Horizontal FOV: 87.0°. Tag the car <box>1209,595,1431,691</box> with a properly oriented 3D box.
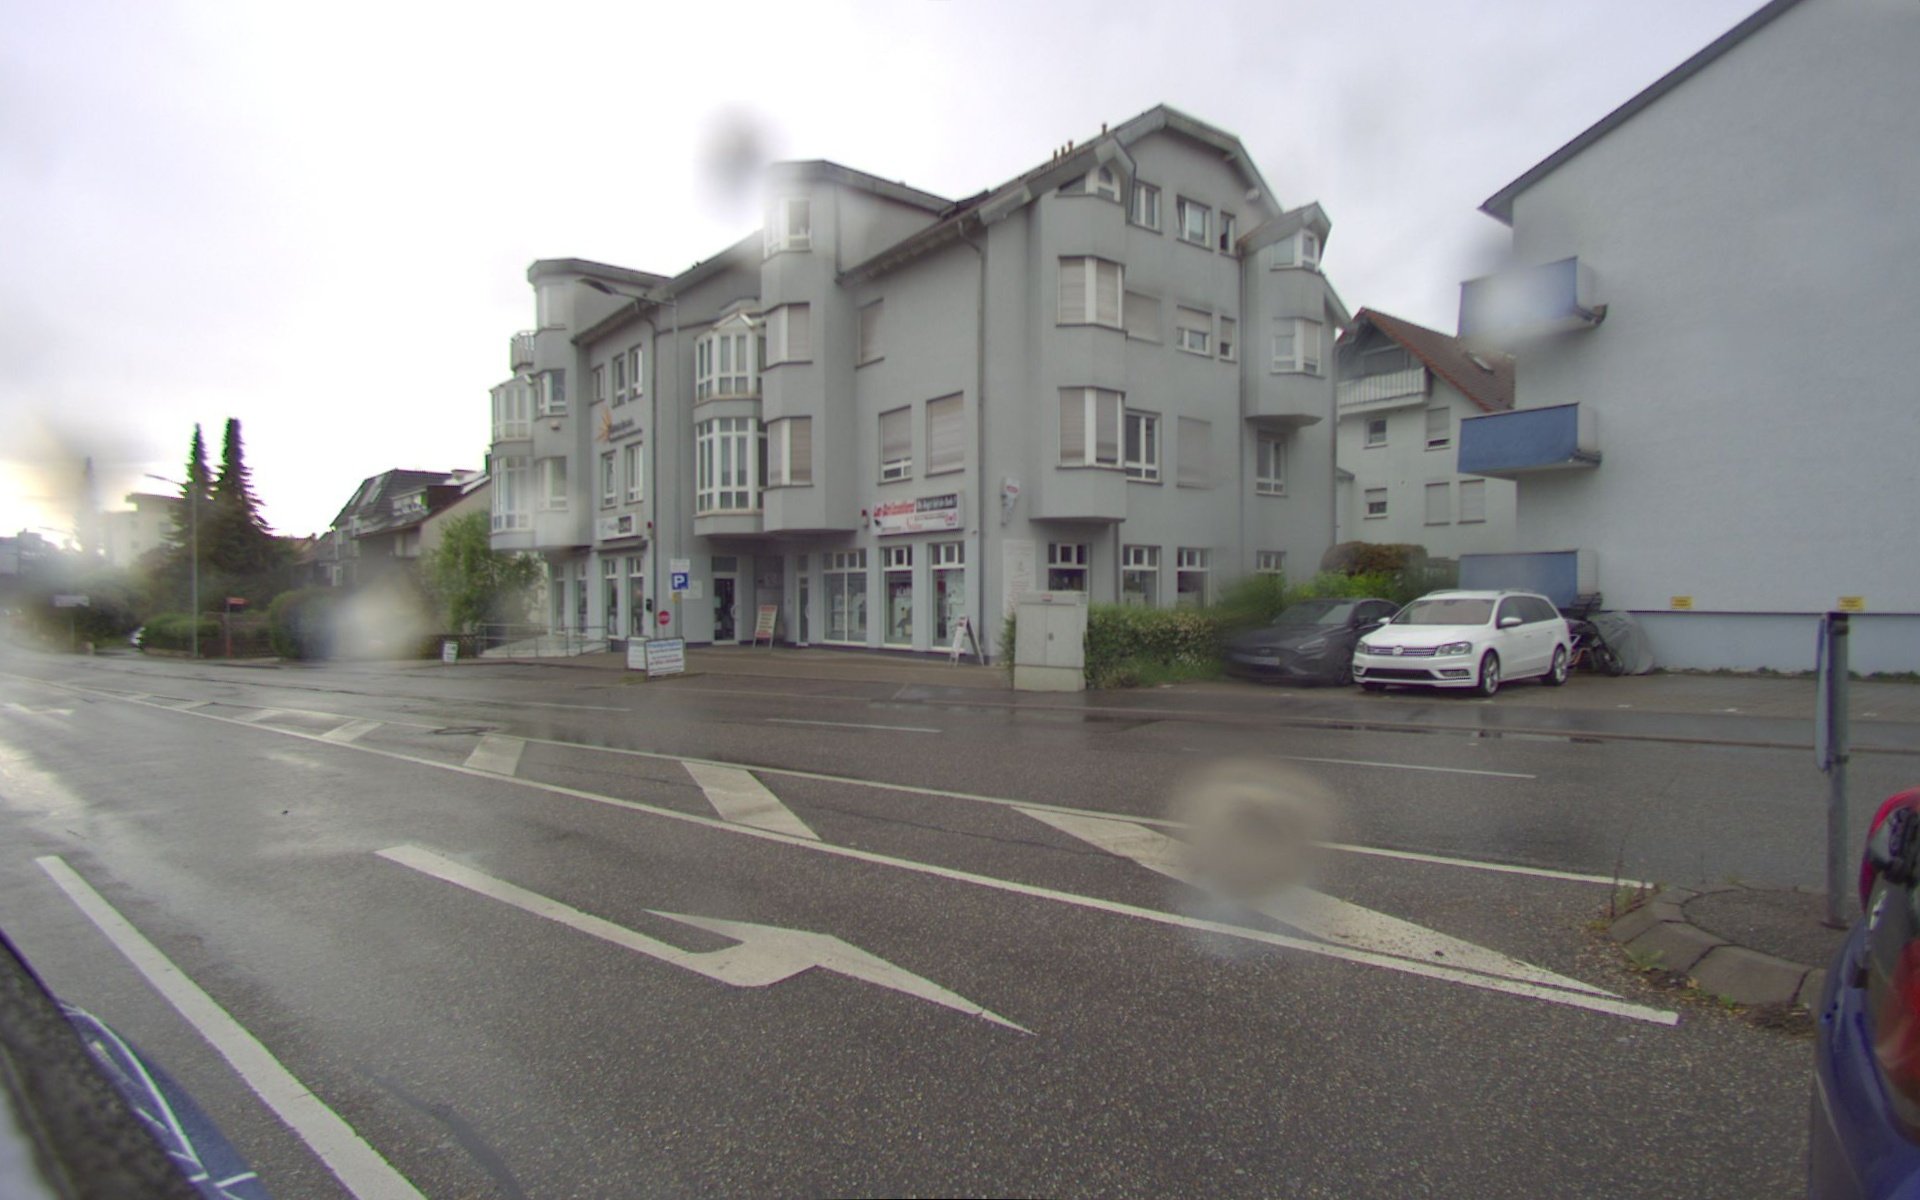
[{"bbox_3d":[6.104,0.650,16.958,3.940,1.421,1.906,0,-1,-43],"label":"car"}]

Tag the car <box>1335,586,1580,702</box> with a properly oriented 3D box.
[{"bbox_3d":[7.484,0.576,15.042,4.169,1.485,1.906,0,-1,-43],"label":"car"}]

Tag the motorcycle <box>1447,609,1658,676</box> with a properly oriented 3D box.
[{"bbox_3d":[10.399,0.759,17.958,3.112,1.108,0.869,-2,-1,24],"label":"motorcycle"}]

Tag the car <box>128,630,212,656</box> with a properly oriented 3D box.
[{"bbox_3d":[-50.847,2.768,65.176,4.097,1.453,1.892,-2,0,-42],"label":"car"}]

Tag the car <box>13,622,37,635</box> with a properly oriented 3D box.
[{"bbox_3d":[-124.070,3.773,134.284,1.968,1.628,4.008,0,-2,-38],"label":"car"}]

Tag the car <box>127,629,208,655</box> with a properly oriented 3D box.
[{"bbox_3d":[-52.647,2.770,67.250,4.058,1.557,2.002,-2,0,-44],"label":"car"}]

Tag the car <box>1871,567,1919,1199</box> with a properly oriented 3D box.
[{"bbox_3d":[2.870,0.615,0.694,3.269,1.421,1.562,-2,0,42],"label":"car"}]

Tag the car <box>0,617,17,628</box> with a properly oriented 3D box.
[{"bbox_3d":[-148.497,3.508,157.755,1.824,1.777,4.129,0,-2,-39],"label":"car"}]
